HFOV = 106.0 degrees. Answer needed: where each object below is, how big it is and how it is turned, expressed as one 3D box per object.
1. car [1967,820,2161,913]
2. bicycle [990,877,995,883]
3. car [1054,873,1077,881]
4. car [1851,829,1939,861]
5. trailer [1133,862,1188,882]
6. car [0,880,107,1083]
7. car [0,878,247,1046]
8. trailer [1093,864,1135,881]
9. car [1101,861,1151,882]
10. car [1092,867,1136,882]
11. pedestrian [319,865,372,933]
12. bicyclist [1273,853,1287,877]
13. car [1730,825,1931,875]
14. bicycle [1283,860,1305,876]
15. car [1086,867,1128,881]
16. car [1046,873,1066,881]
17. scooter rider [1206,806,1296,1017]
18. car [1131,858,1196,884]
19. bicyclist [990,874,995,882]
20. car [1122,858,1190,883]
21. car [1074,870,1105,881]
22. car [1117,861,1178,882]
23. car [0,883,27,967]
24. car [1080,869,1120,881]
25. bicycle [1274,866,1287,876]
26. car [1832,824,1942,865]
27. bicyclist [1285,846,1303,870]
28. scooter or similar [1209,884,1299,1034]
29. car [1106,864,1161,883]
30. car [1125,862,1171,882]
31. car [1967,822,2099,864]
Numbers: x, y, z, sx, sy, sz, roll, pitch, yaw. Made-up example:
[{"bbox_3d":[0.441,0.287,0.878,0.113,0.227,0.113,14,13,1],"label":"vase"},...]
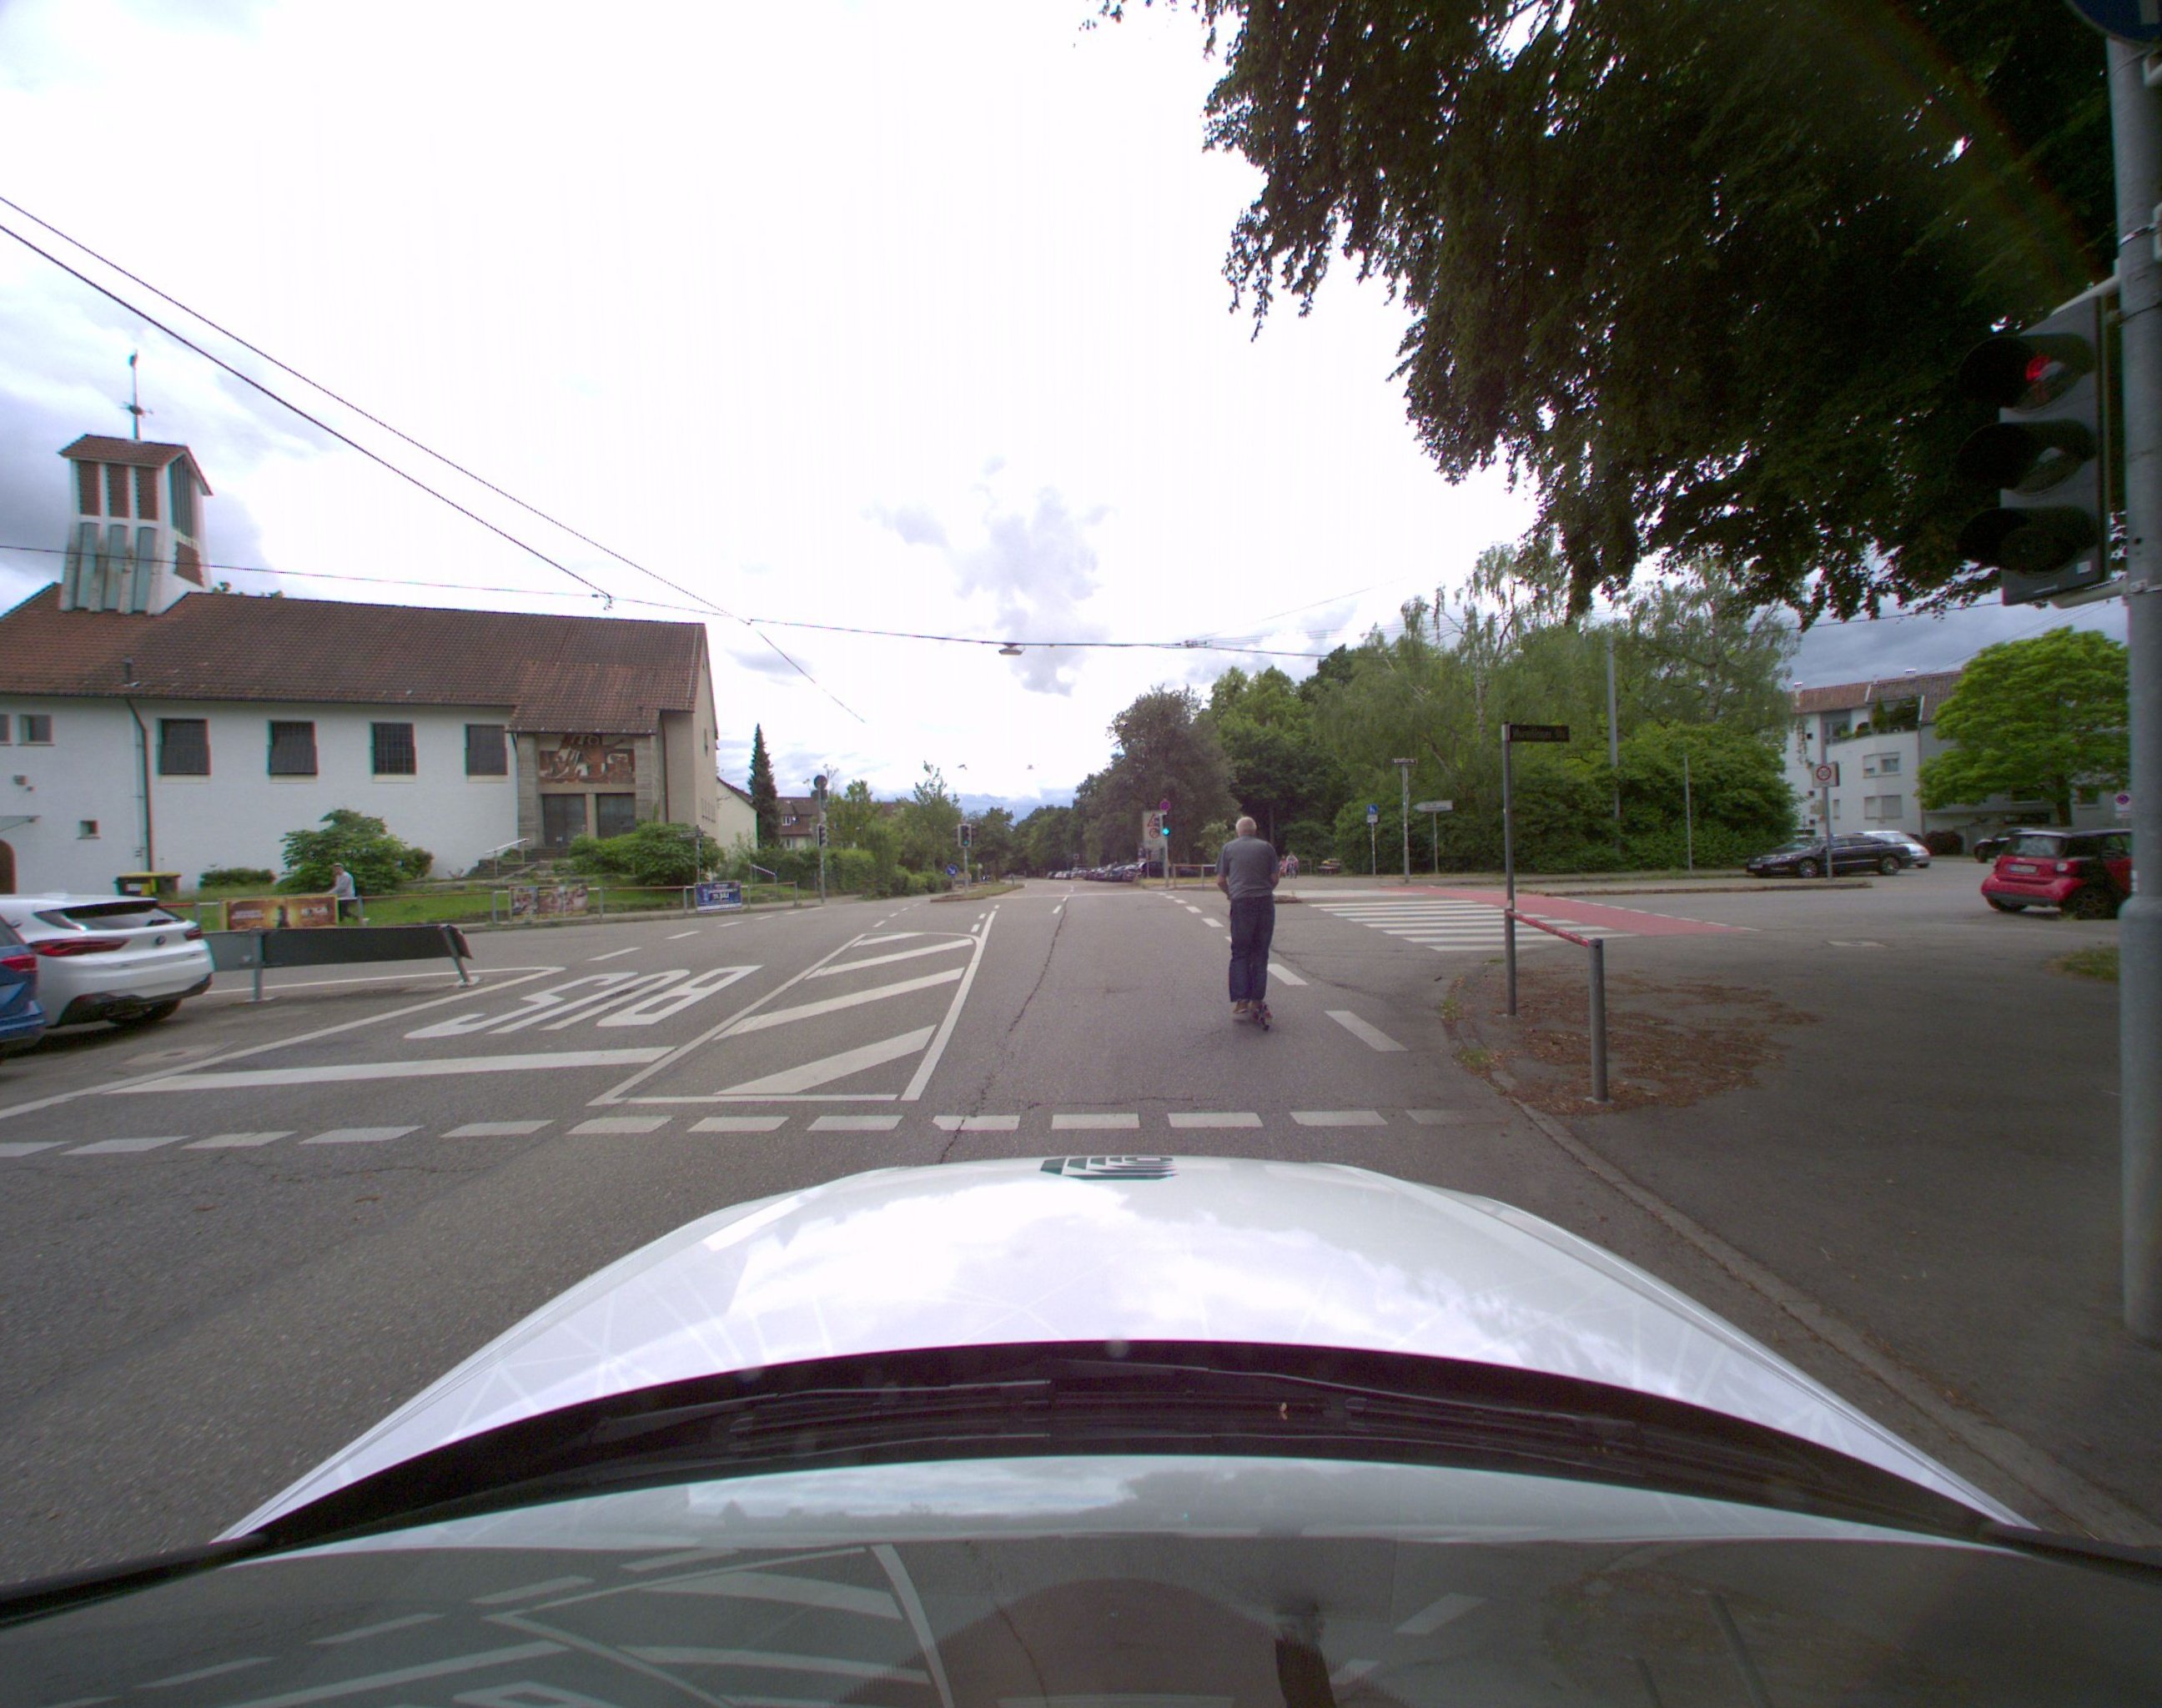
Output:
[{"bbox_3d":[17.806,0.189,14.105,2.892,1.506,1.701,-1,1,11],"label":"car"},{"bbox_3d":[-18.604,5.457,171.310,0.843,1.266,2.647,-2,-1,-5],"label":"bicycle"},{"bbox_3d":[-2.852,4.238,151.290,3.907,1.310,1.727,-1,-2,-29],"label":"car"},{"bbox_3d":[43.489,-0.447,43.639,1.911,1.545,4.086,-2,-1,23],"label":"car"},{"bbox_3d":[5.473,1.249,55.900,3.406,1.267,1.609,-2,-2,-14],"label":"trailer"},{"bbox_3d":[-10.427,1.084,5.869,4.161,1.547,1.841,-2,0,-7],"label":"car"},{"bbox_3d":[-11.416,1.088,8.113,3.896,1.472,1.838,-2,0,-13],"label":"car"},{"bbox_3d":[3.150,1.751,77.787,3.695,1.535,1.637,-1,-2,-16],"label":"trailer"},{"bbox_3d":[3.895,1.502,70.243,3.990,1.725,1.672,-1,-2,-13],"label":"car"},{"bbox_3d":[3.202,1.993,79.964,4.041,1.327,1.552,-1,-2,-13],"label":"car"},{"bbox_3d":[-18.374,1.103,20.347,0.680,1.653,0.836,-2,-2,35],"label":"pedestrian"},{"bbox_3d":[10.373,0.567,42.460,0.515,1.187,0.969,-3,-3,7],"label":"bicyclist"},{"bbox_3d":[24.723,-0.132,26.997,4.768,1.439,2.039,-2,0,0],"label":"car"},{"bbox_3d":[10.533,0.681,40.269,0.637,0.758,1.681,-2,0,0],"label":"bicycle"},{"bbox_3d":[2.864,2.248,90.349,4.356,1.445,1.624,-1,-1,-19],"label":"car"},{"bbox_3d":[-5.164,4.766,169.485,3.902,1.429,1.729,-1,-2,-24],"label":"car"},{"bbox_3d":[1.500,0.473,7.340,0.677,1.730,1.199,-2,0,8],"label":"scooter rider"},{"bbox_3d":[5.074,1.034,50.381,3.711,1.476,1.573,-1,-1,-7],"label":"car"},{"bbox_3d":[-18.612,5.009,171.419,0.844,1.697,0.712,-2,-1,-6],"label":"bicyclist"},{"bbox_3d":[4.881,1.095,53.005,4.142,1.476,1.568,-1,-2,-15],"label":"car"},{"bbox_3d":[1.139,2.952,113.615,3.977,1.406,1.745,-1,-2,-19],"label":"car"},{"bbox_3d":[4.982,1.306,60.765,4.224,1.464,1.627,-1,-2,-13],"label":"car"},{"bbox_3d":[-21.242,1.356,13.877,3.704,1.489,1.754,-3,0,-41],"label":"car"},{"bbox_3d":[2.252,2.472,95.764,4.324,1.341,1.723,-1,-2,-18],"label":"car"},{"bbox_3d":[10.382,0.907,42.448,0.515,0.497,0.990,-3,-3,7],"label":"bicycle"},{"bbox_3d":[31.914,-0.350,32.397,1.786,1.487,3.689,-2,-1,22],"label":"car"},{"bbox_3d":[10.514,0.207,40.243,0.637,1.162,0.803,-2,0,0],"label":"bicyclist"},{"bbox_3d":[1.525,0.889,7.364,0.677,1.139,1.463,-2,0,8],"label":"scooter or similar"},{"bbox_3d":[4.359,1.593,67.494,4.167,1.407,1.689,-1,-2,-15],"label":"car"},{"bbox_3d":[5.401,1.430,65.609,3.329,1.464,1.627,-1,-2,-13],"label":"car"},{"bbox_3d":[39.384,-0.419,33.856,1.911,1.545,4.086,-2,-1,23],"label":"car"}]
